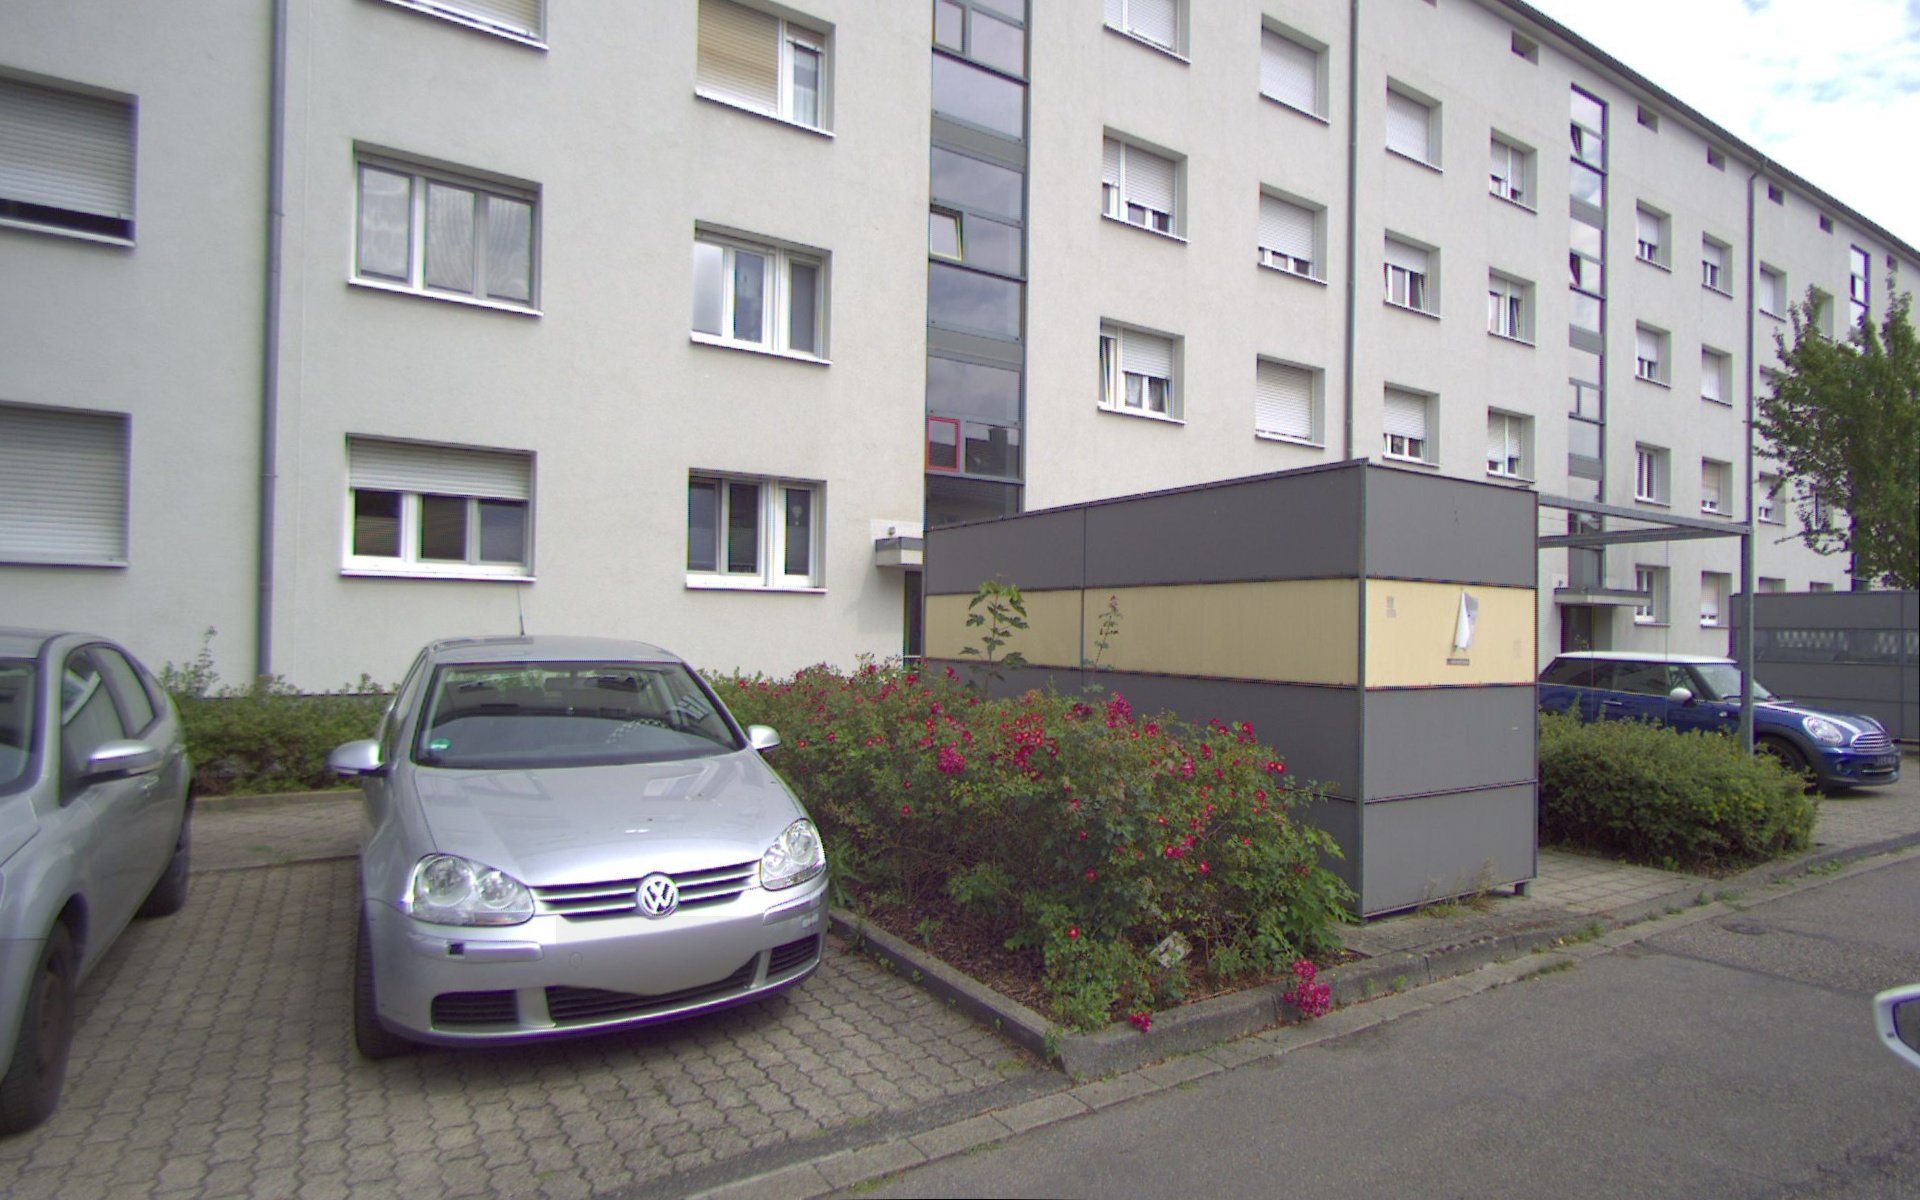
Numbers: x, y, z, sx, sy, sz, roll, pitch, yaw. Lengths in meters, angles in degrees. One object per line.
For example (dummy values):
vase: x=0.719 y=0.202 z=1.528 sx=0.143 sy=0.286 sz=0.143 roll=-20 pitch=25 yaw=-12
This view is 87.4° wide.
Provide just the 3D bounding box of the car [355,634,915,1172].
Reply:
car: x=-1.958 y=0.927 z=4.989 sx=1.762 sy=1.483 sz=4.031 roll=2 pitch=-3 yaw=-31

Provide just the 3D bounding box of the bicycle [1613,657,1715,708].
bicycle: x=15.547 y=1.813 z=22.226 sx=1.775 sy=1.038 sz=0.479 roll=0 pitch=-1 yaw=18

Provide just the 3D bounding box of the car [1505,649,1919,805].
car: x=8.609 y=1.336 z=11.767 sx=1.632 sy=1.480 sz=3.621 roll=2 pitch=-3 yaw=-28

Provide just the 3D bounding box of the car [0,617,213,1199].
car: x=-4.073 y=0.843 z=3.643 sx=1.762 sy=1.525 sz=4.031 roll=2 pitch=-3 yaw=-31
